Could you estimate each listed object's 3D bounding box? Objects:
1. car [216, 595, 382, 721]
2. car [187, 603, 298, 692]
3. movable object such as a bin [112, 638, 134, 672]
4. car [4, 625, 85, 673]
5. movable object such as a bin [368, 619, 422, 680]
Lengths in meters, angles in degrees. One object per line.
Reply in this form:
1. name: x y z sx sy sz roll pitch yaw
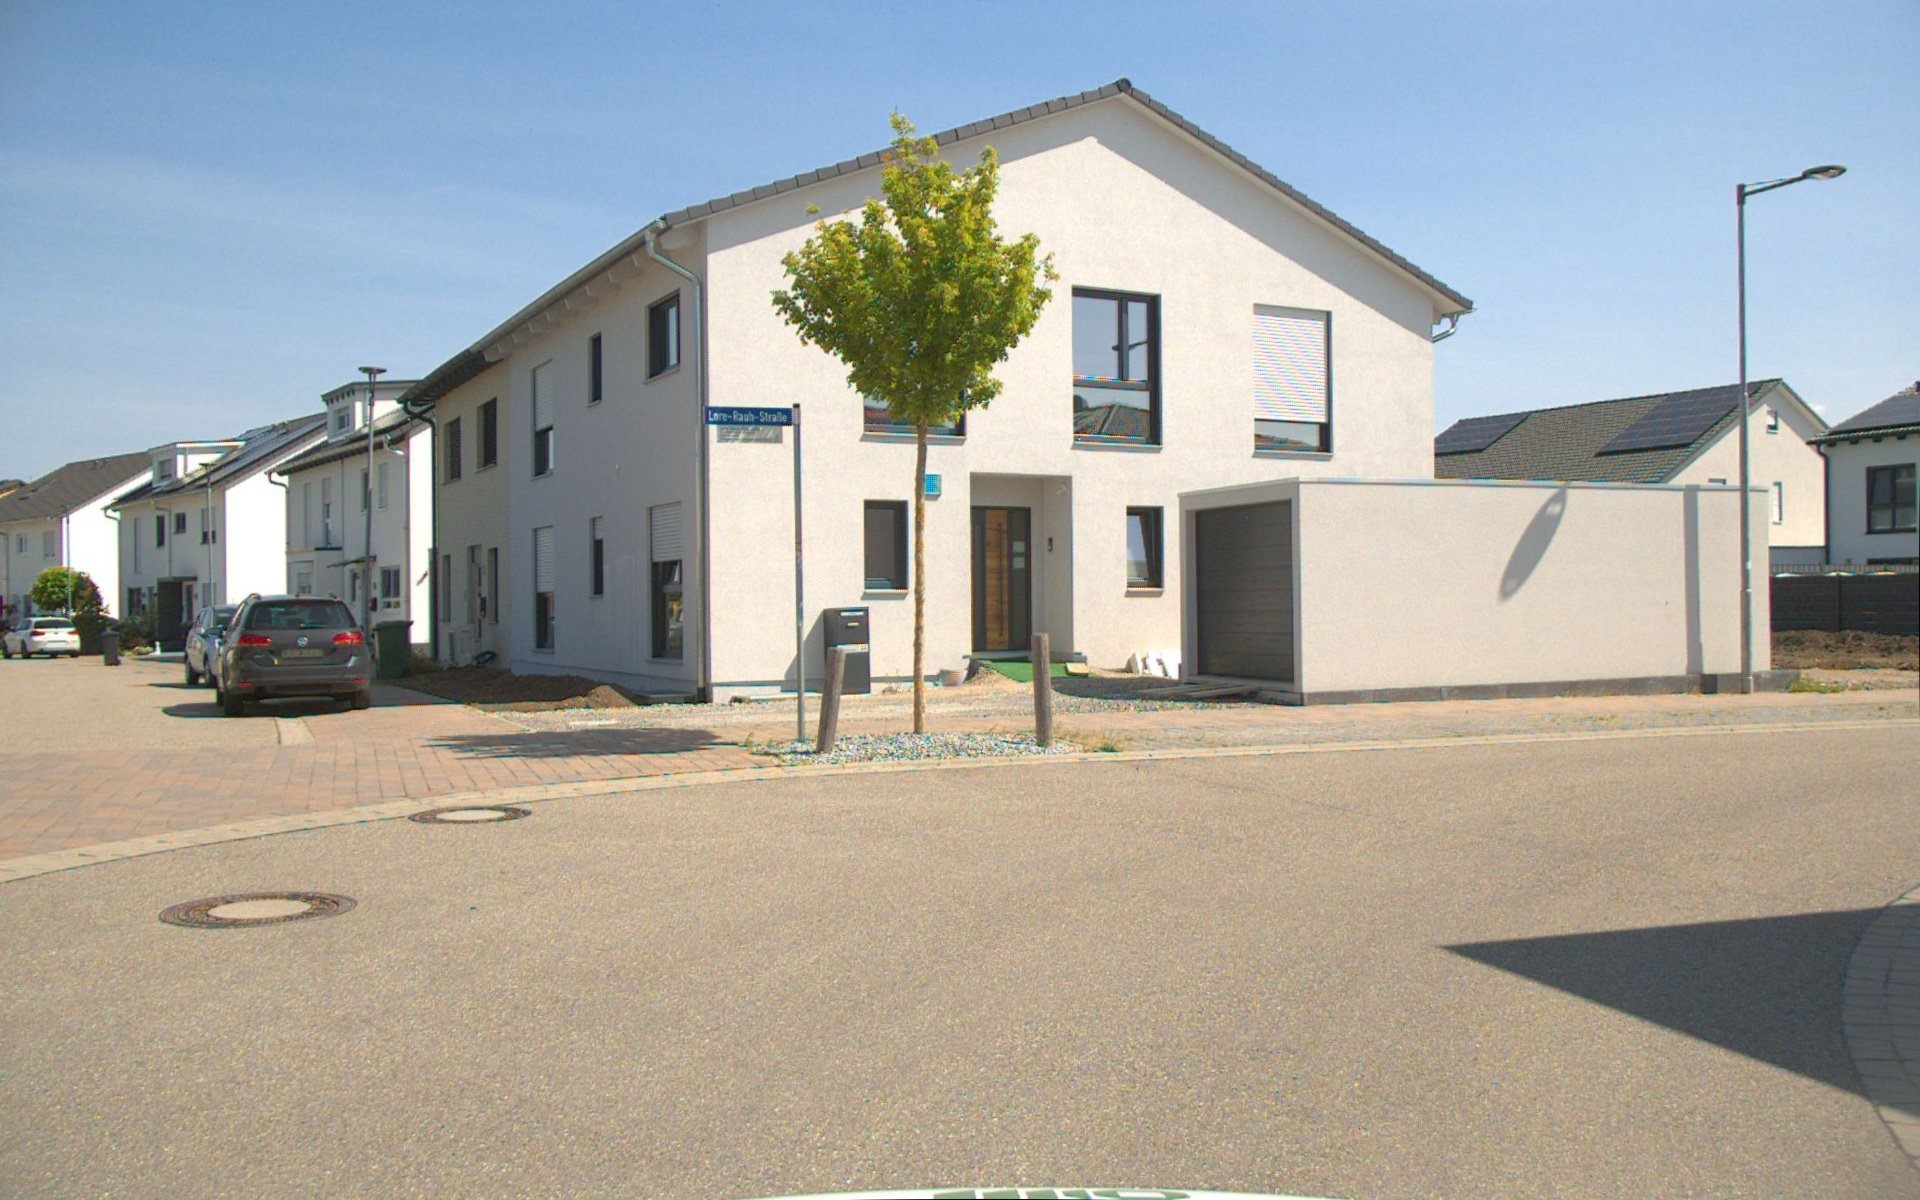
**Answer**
1. car: -8.712 0.693 21.623 1.706 1.447 3.966 -1 0 -26
2. car: -13.343 0.830 30.653 1.657 1.489 3.910 -1 0 -27
3. movable object such as a bin: -23.981 1.568 47.392 0.551 0.965 0.244 -1 0 -32
4. car: -32.830 1.727 59.258 1.770 1.624 3.940 -1 0 -41
5. movable object such as a bin: -10.542 0.914 30.857 0.776 1.068 0.796 -3 1 -29
